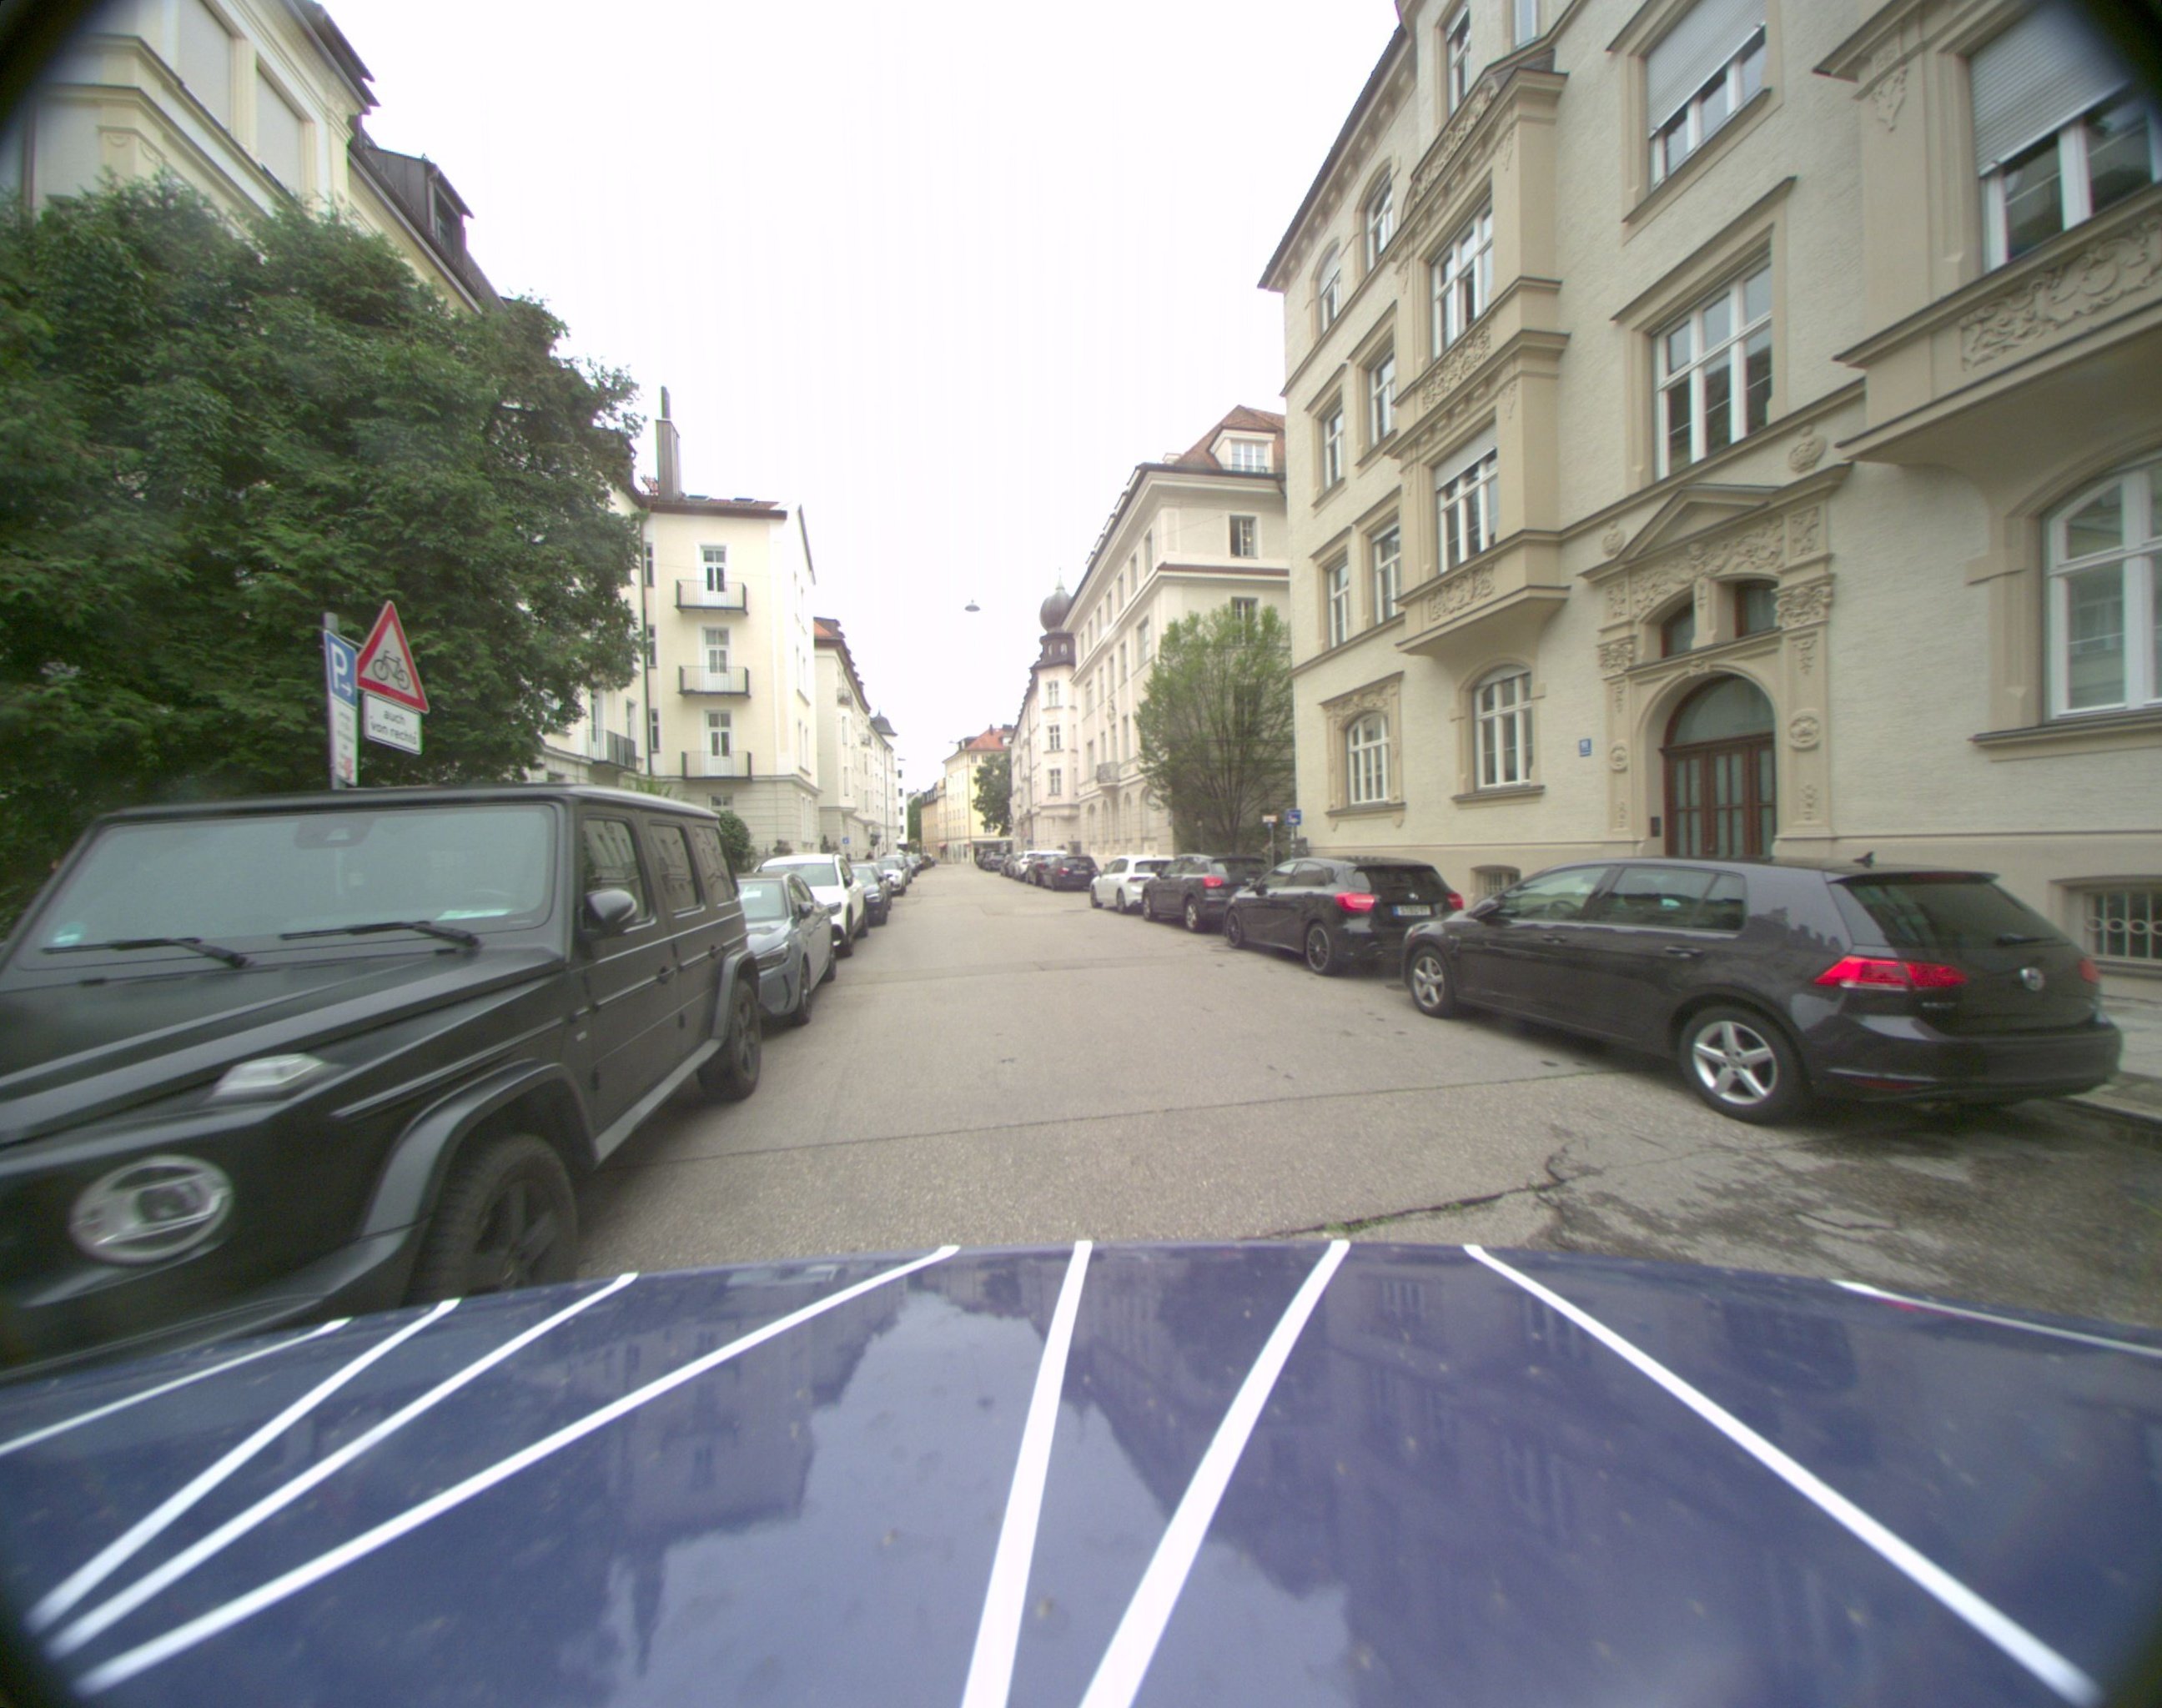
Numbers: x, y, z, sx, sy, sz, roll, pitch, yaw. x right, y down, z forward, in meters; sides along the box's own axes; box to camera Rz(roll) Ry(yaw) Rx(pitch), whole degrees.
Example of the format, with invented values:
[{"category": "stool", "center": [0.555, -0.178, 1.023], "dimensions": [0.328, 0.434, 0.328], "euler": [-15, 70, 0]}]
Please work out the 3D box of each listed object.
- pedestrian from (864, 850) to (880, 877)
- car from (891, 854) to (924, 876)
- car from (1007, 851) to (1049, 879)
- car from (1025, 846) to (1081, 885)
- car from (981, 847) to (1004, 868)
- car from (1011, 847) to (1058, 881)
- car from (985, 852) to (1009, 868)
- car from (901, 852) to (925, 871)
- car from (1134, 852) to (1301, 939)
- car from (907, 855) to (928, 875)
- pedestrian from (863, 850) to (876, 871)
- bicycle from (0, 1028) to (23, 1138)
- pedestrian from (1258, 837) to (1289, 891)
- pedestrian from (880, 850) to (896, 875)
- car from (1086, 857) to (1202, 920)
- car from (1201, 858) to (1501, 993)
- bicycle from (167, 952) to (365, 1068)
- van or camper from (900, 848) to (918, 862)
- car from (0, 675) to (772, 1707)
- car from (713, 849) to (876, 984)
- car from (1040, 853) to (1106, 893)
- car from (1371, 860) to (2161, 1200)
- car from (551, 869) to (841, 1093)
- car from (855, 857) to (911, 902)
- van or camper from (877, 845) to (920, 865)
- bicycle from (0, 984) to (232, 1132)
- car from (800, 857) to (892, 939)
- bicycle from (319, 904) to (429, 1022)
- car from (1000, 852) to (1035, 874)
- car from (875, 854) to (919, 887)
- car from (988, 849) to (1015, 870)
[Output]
[{"category": "pedestrian", "center": [-14.796, 0.669, 53.845], "dimensions": [0.886, 1.801, 1.110], "euler": [-2, 1, -6]}, {"category": "car", "center": [-12.539, 0.785, 55.157], "dimensions": [2.000, 1.449, 4.708], "euler": [-3, 1, -10]}, {"category": "car", "center": [-3.236, 0.619, 45.424], "dimensions": [1.789, 1.532, 4.252], "euler": [0, 0, -14]}, {"category": "car", "center": [-1.364, 0.509, 34.992], "dimensions": [1.843, 1.609, 4.240], "euler": [-2, 0, -11]}, {"category": "car", "center": [-8.459, 0.336, 72.342], "dimensions": [1.843, 1.883, 4.758], "euler": [0, 0, -11]}, {"category": "car", "center": [-2.521, 0.505, 40.273], "dimensions": [1.921, 1.609, 4.567], "euler": [-2, 0, -10]}, {"category": "car", "center": [-7.389, 0.519, 66.873], "dimensions": [1.842, 1.386, 4.240], "euler": [0, 0, -10]}, {"category": "car", "center": [-14.433, 0.621, 65.056], "dimensions": [1.843, 1.391, 4.968], "euler": [-4, 1, -14]}, {"category": "car", "center": [2.568, 0.739, 15.513], "dimensions": [1.777, 1.509, 4.380], "euler": [1, 0, -13]}, {"category": "car", "center": [-15.896, 1.041, 73.863], "dimensions": [1.806, 1.665, 4.185], "euler": [-5, 1, -11]}, {"category": "pedestrian", "center": [-18.599, 0.570, 66.915], "dimensions": [0.886, 1.803, 1.110], "euler": [-2, 1, -10]}, {"category": "bicycle", "center": [-7.073, 1.482, 4.353], "dimensions": [0.514, 0.679, 1.122], "euler": [-2, 1, -10]}, {"category": "pedestrian", "center": [5.960, 0.308, 23.517], "dimensions": [0.675, 1.617, 0.630], "euler": [-2, 1, -14]}, {"category": "pedestrian", "center": [-13.855, 0.583, 54.549], "dimensions": [0.886, 1.776, 1.110], "euler": [-2, 1, -7]}, {"category": "car", "center": [1.507, 0.806, 19.872], "dimensions": [1.843, 1.425, 4.240], "euler": [0, 0, -12]}, {"category": "car", "center": [3.380, 0.788, 10.625], "dimensions": [1.840, 1.425, 4.548], "euler": [0, 0, -12]}, {"category": "bicycle", "center": [-7.514, 1.403, 7.092], "dimensions": [0.514, 0.777, 1.353], "euler": [-2, 1, -10]}, {"category": "van or camper", "center": [-32.014, 0.180, 141.104], "dimensions": [1.970, 2.494, 5.712], "euler": [-2, 0, -25]}, {"category": "car", "center": [-2.891, 0.791, 3.226], "dimensions": [1.957, 1.943, 4.661], "euler": [-4, 0, -11]}, {"category": "car", "center": [-4.698, 0.883, 13.143], "dimensions": [1.728, 1.759, 4.408], "euler": [-5, 2, -10]}, {"category": "car", "center": [-0.397, 0.690, 30.244], "dimensions": [1.793, 1.404, 4.362], "euler": [-2, 0, -11]}, {"category": "car", "center": [4.126, 0.784, 5.508], "dimensions": [1.843, 1.427, 4.240], "euler": [1, 0, -10]}, {"category": "car", "center": [-3.621, 1.034, 7.901], "dimensions": [1.729, 1.510, 3.626], "euler": [-5, 2, -13]}, {"category": "car", "center": [-7.722, 0.942, 29.915], "dimensions": [1.790, 1.496, 4.060], "euler": [-3, 1, -11]}, {"category": "van or camper", "center": [-27.167, 0.149, 113.117], "dimensions": [5.874, 2.697, 2.302], "euler": [-2, -2, -17]}, {"category": "bicycle", "center": [-7.292, 1.470, 5.671], "dimensions": [0.514, 0.730, 1.353], "euler": [-2, 1, -10]}, {"category": "car", "center": [-5.471, 0.935, 18.132], "dimensions": [1.756, 1.601, 4.418], "euler": [-4, 1, -14]}, {"category": "bicycle", "center": [-7.670, 1.136, 8.301], "dimensions": [0.515, 1.088, 1.351], "euler": [-3, 1, -29]}, {"category": "car", "center": [-4.215, 0.560, 50.011], "dimensions": [1.799, 1.407, 4.274], "euler": [0, 0, -11]}, {"category": "car", "center": [-9.901, 0.840, 41.113], "dimensions": [1.828, 1.560, 4.396], "euler": [-5, 1, -9]}, {"category": "car", "center": [-6.414, 0.412, 60.813], "dimensions": [1.733, 1.609, 4.116], "euler": [0, 0, -12]}]
